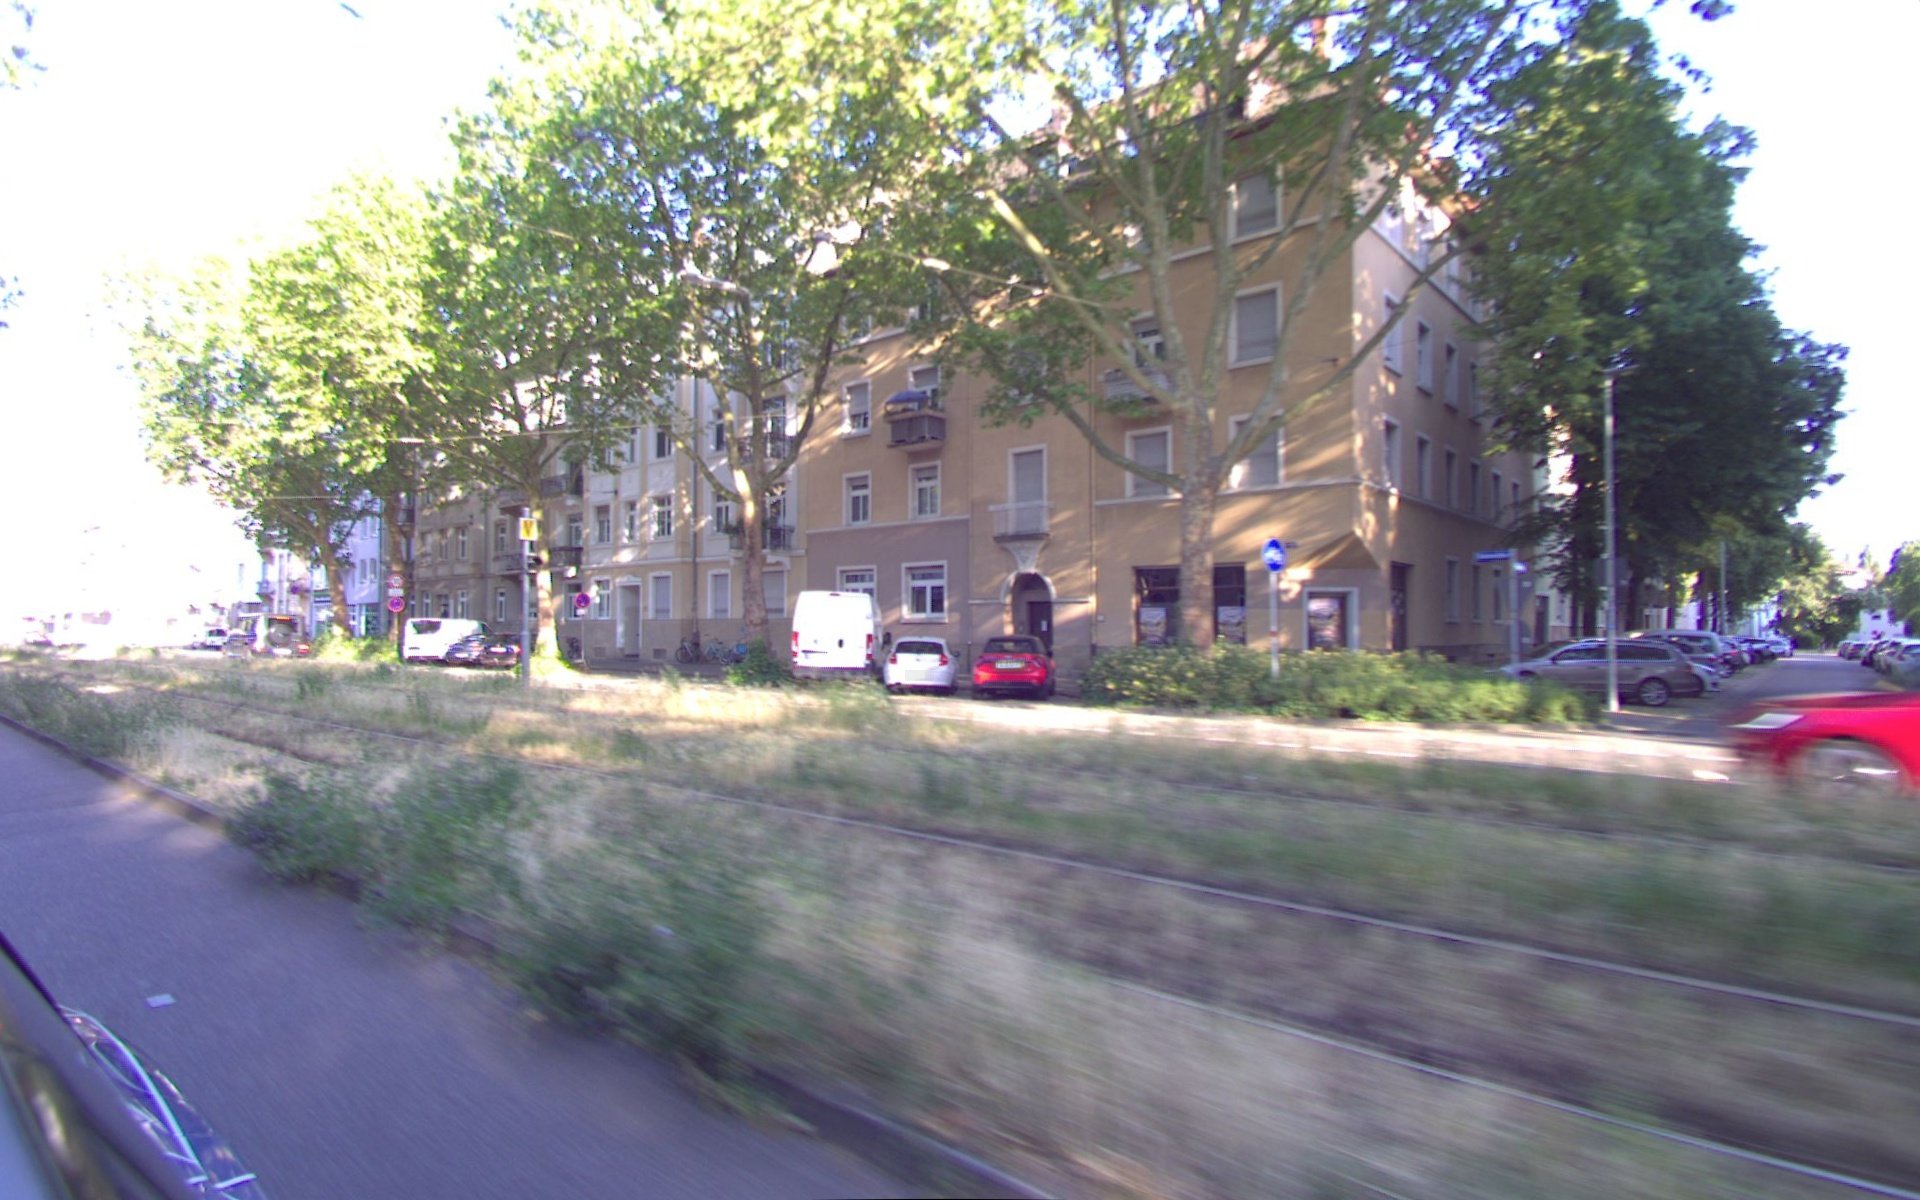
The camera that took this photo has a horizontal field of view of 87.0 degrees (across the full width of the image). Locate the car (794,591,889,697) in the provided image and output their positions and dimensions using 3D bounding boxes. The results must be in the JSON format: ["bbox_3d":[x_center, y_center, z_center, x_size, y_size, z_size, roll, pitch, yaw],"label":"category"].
[{"bbox_3d":[-3.052,1.158,27.247,2.095,2.548,5.510,0,-2,-2],"label":"car"}]

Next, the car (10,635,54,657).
[{"bbox_3d":[-67.288,3.303,73.328,4.696,1.497,1.698,-2,-5,40],"label":"car"}]

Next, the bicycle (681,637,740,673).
[{"bbox_3d":[-9.996,2.194,40.505,2.959,1.402,0.734,-2,-3,41],"label":"bicycle"}]

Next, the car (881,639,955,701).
[{"bbox_3d":[-1.035,1.697,25.245,1.711,1.410,3.711,0,-2,-2],"label":"car"}]

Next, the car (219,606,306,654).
[{"bbox_3d":[-26.504,1.119,38.395,1.848,1.706,4.779,2,-2,-45],"label":"car"}]

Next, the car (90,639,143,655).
[{"bbox_3d":[-85.871,4.790,103.045,4.067,1.586,1.717,2,-2,-44],"label":"car"}]

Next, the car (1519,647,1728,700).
[{"bbox_3d":[18.041,1.986,27.717,4.370,1.346,1.790,0,-2,11],"label":"car"}]

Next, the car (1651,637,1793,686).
[{"bbox_3d":[32.225,2.575,42.954,4.385,1.946,1.784,-1,-3,21],"label":"car"}]

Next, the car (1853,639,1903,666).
[{"bbox_3d":[53.310,3.034,58.858,1.812,1.519,3.949,-1,-3,38],"label":"car"}]

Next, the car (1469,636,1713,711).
[{"bbox_3d":[14.689,1.684,23.810,4.482,1.514,1.790,1,-2,11],"label":"car"}]

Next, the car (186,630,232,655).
[{"bbox_3d":[-56.880,3.212,76.602,4.652,1.800,1.884,-1,-2,42],"label":"car"}]

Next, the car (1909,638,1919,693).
[{"bbox_3d":[27.203,1.797,27.378,1.812,1.519,3.949,-1,-3,38],"label":"car"}]

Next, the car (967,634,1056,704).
[{"bbox_3d":[1.280,1.588,23.583,1.716,1.477,3.699,0,-3,9],"label":"car"}]

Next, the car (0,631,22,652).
[{"bbox_3d":[-80.696,3.462,85.460,4.001,1.697,1.908,-1,-2,44],"label":"car"}]

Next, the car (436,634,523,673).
[{"bbox_3d":[-19.637,2.165,41.582,1.697,1.502,4.178,0,-2,-2],"label":"car"}]

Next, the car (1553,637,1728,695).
[{"bbox_3d":[21.261,2.024,31.825,4.204,1.723,1.747,-1,-3,21],"label":"car"}]

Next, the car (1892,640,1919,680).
[{"bbox_3d":[37.764,2.307,39.410,1.812,1.519,3.949,-1,-3,38],"label":"car"}]

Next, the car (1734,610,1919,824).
[{"bbox_3d":[8.386,0.874,7.579,3.998,1.586,1.771,-2,-3,41],"label":"car"}]

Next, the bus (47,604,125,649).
[{"bbox_3d":[-71.335,2.107,82.449,11.973,3.400,3.220,-1,-2,42],"label":"bus"}]

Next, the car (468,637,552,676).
[{"bbox_3d":[-17.361,2.168,39.236,1.697,1.433,3.729,0,-2,-2],"label":"car"}]

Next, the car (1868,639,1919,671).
[{"bbox_3d":[46.918,2.727,50.670,1.812,1.519,3.949,-1,-3,38],"label":"car"}]

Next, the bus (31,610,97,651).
[{"bbox_3d":[-79.515,2.647,89.757,9.896,3.400,3.230,-1,-2,42],"label":"bus"}]

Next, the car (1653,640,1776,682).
[{"bbox_3d":[34.709,2.780,46.701,4.164,1.835,1.784,-1,-3,21],"label":"car"}]

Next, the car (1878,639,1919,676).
[{"bbox_3d":[41.605,2.488,44.258,1.812,1.519,3.949,-1,-3,38],"label":"car"}]

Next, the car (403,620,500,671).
[{"bbox_3d":[-21.906,1.941,43.845,1.697,2.082,5.248,0,-2,-2],"label":"car"}]

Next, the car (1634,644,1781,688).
[{"bbox_3d":[30.128,2.631,40.944,4.385,1.695,1.784,-1,-3,21],"label":"car"}]

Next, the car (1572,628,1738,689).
[{"bbox_3d":[23.248,1.930,34.080,4.399,1.946,1.778,-1,-3,30],"label":"car"}]

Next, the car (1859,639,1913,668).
[{"bbox_3d":[50.148,2.885,54.857,1.812,1.519,3.949,-1,-3,38],"label":"car"}]
